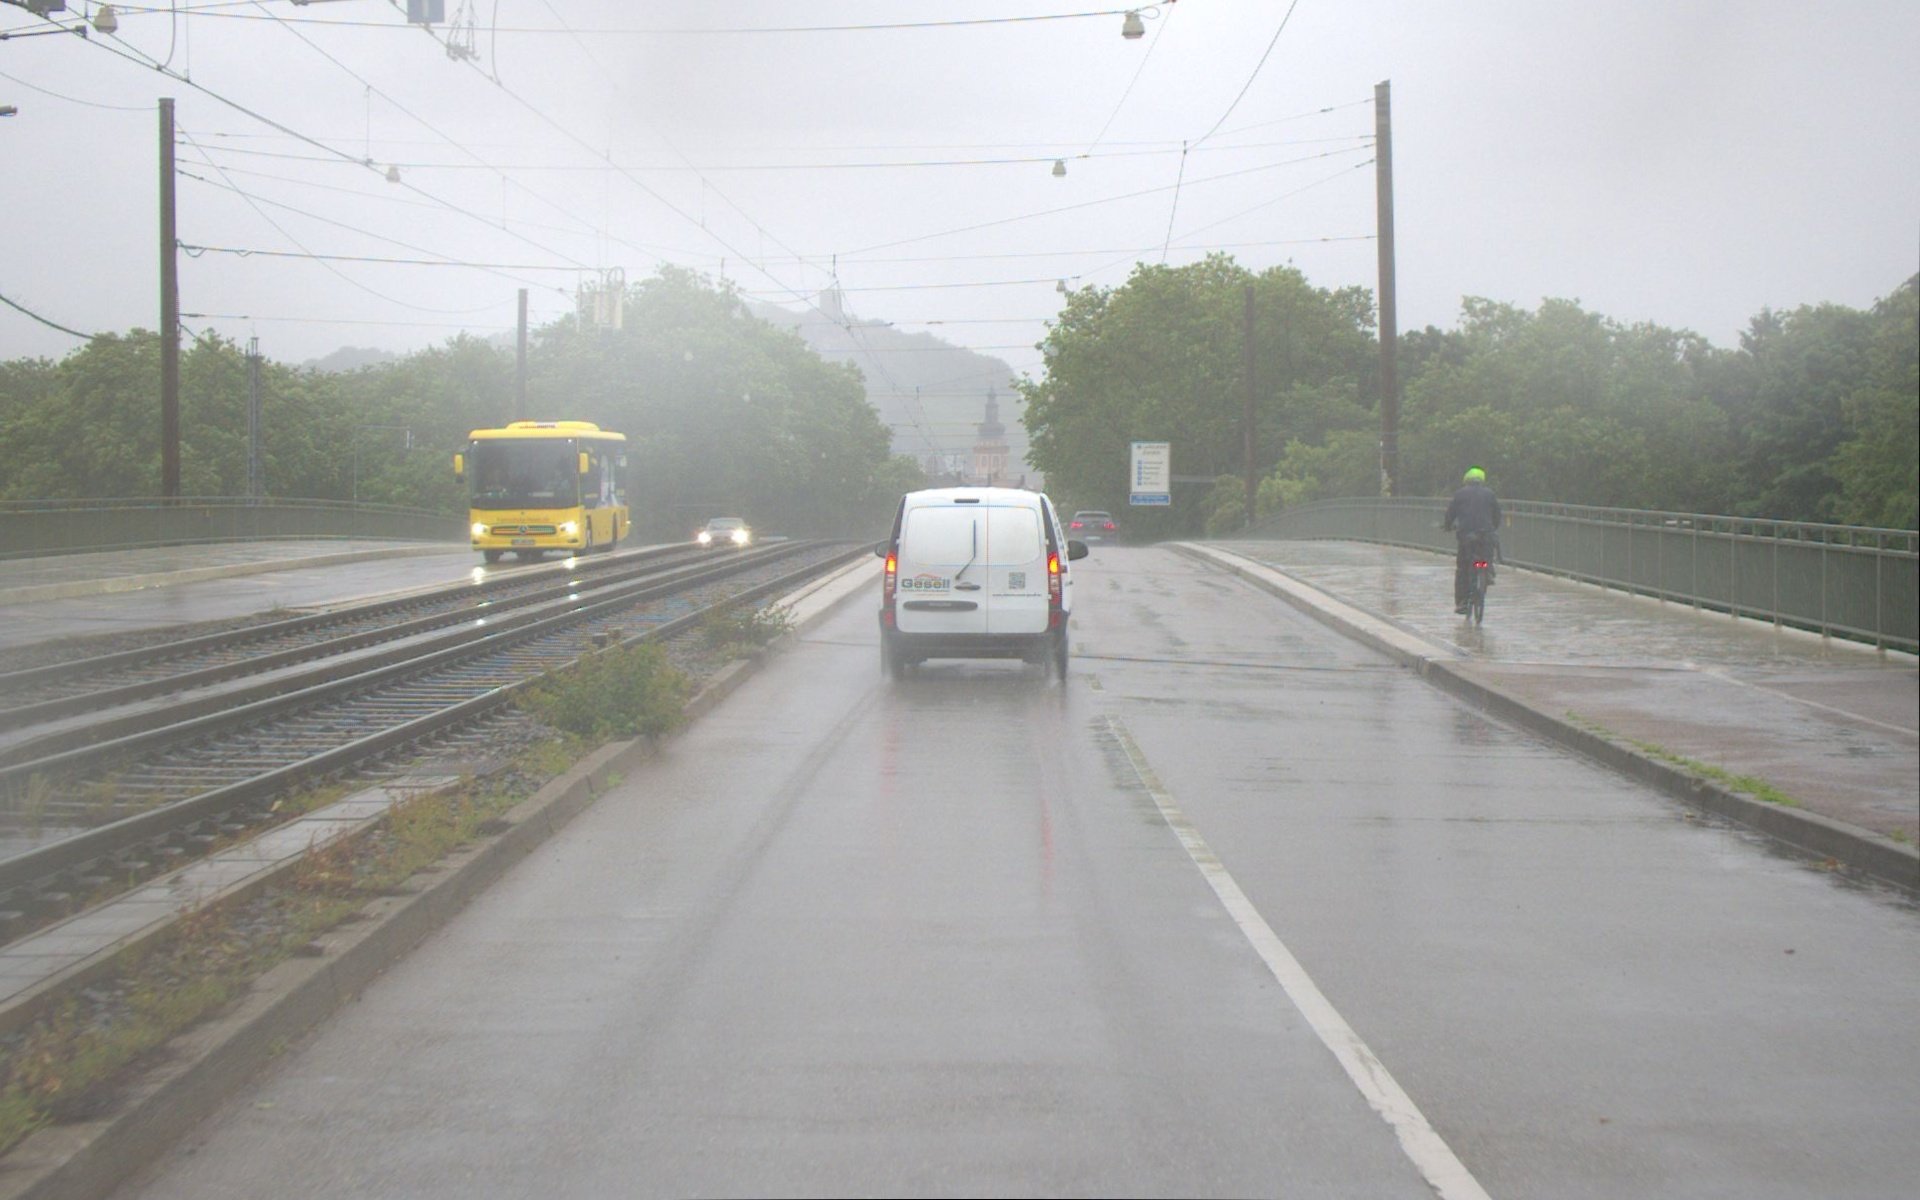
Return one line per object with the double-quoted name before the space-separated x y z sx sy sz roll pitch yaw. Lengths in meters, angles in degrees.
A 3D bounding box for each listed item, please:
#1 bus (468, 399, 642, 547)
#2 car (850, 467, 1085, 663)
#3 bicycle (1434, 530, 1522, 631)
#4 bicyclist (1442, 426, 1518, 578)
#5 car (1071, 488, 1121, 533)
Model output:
"bus" -9.835 -3.217 84.736 2.708 3.329 10.994 -2 3 1
"car" 0.139 -0.338 33.199 1.994 1.720 4.000 2 1 3
"bicycle" 6.104 -0.245 40.598 0.723 1.125 2.168 2 2 1
"bicyclist" 6.131 -1.147 40.559 0.725 1.758 0.949 2 1 1
"car" 4.776 -3.139 120.952 1.451 1.494 2.983 2 1 -3
